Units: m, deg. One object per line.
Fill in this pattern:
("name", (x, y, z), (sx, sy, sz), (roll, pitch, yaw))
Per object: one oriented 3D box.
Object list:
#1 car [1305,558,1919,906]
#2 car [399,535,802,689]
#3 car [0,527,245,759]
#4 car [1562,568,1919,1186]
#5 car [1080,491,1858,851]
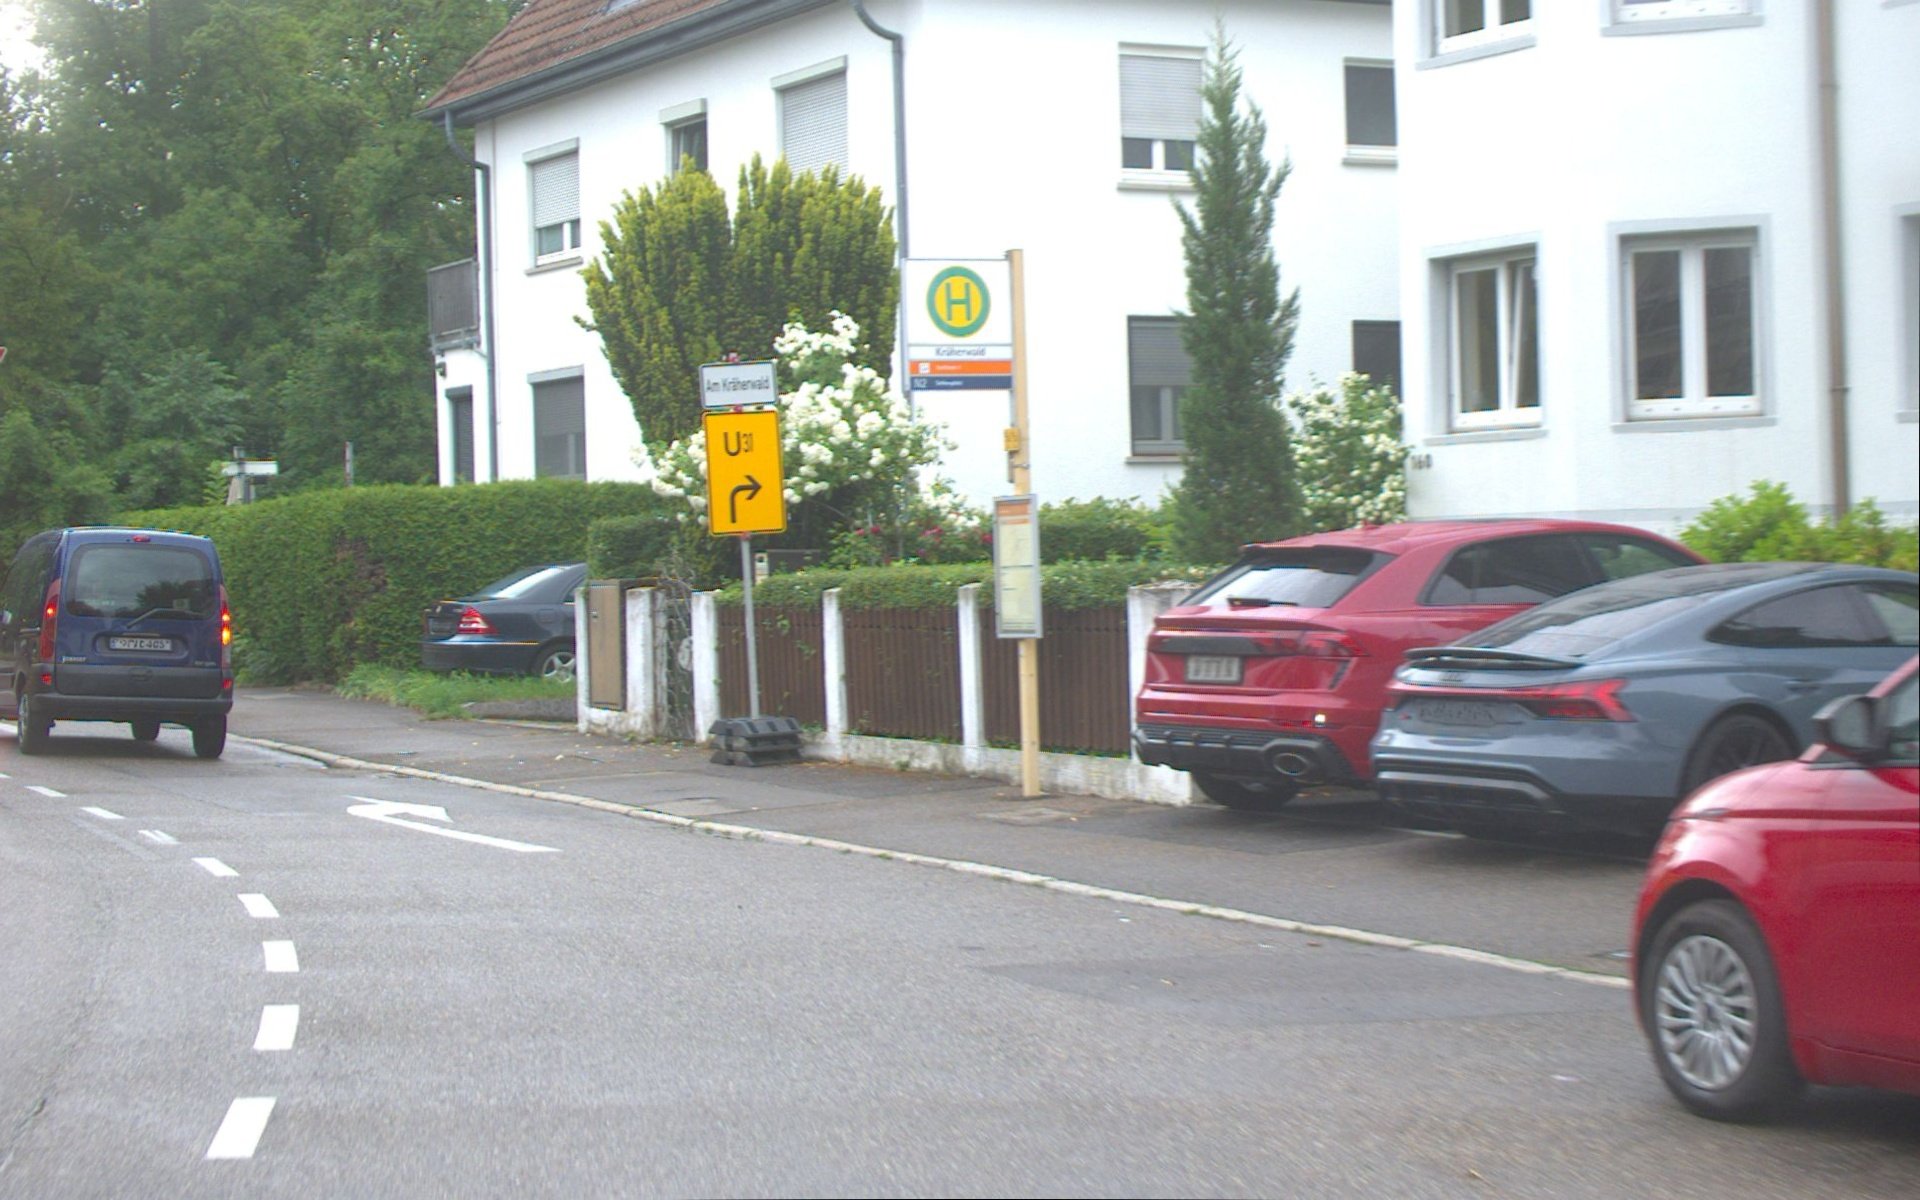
("car", (4.214, 0.575, 17.696), (4.547, 1.411, 2.000), (-3, 2, -32))
("car", (-3.652, 0.092, 35.004), (3.742, 1.383, 1.617), (-2, 3, -27))
("car", (-7.273, 0.331, 28.939), (1.808, 1.791, 4.001), (-1, 0, -21))
("car", (3.217, 0.706, 8.745), (1.611, 1.532, 3.541), (0, 1, -24))
("car", (2.941, 0.314, 19.613), (4.074, 1.744, 2.000), (-3, 2, -34))
